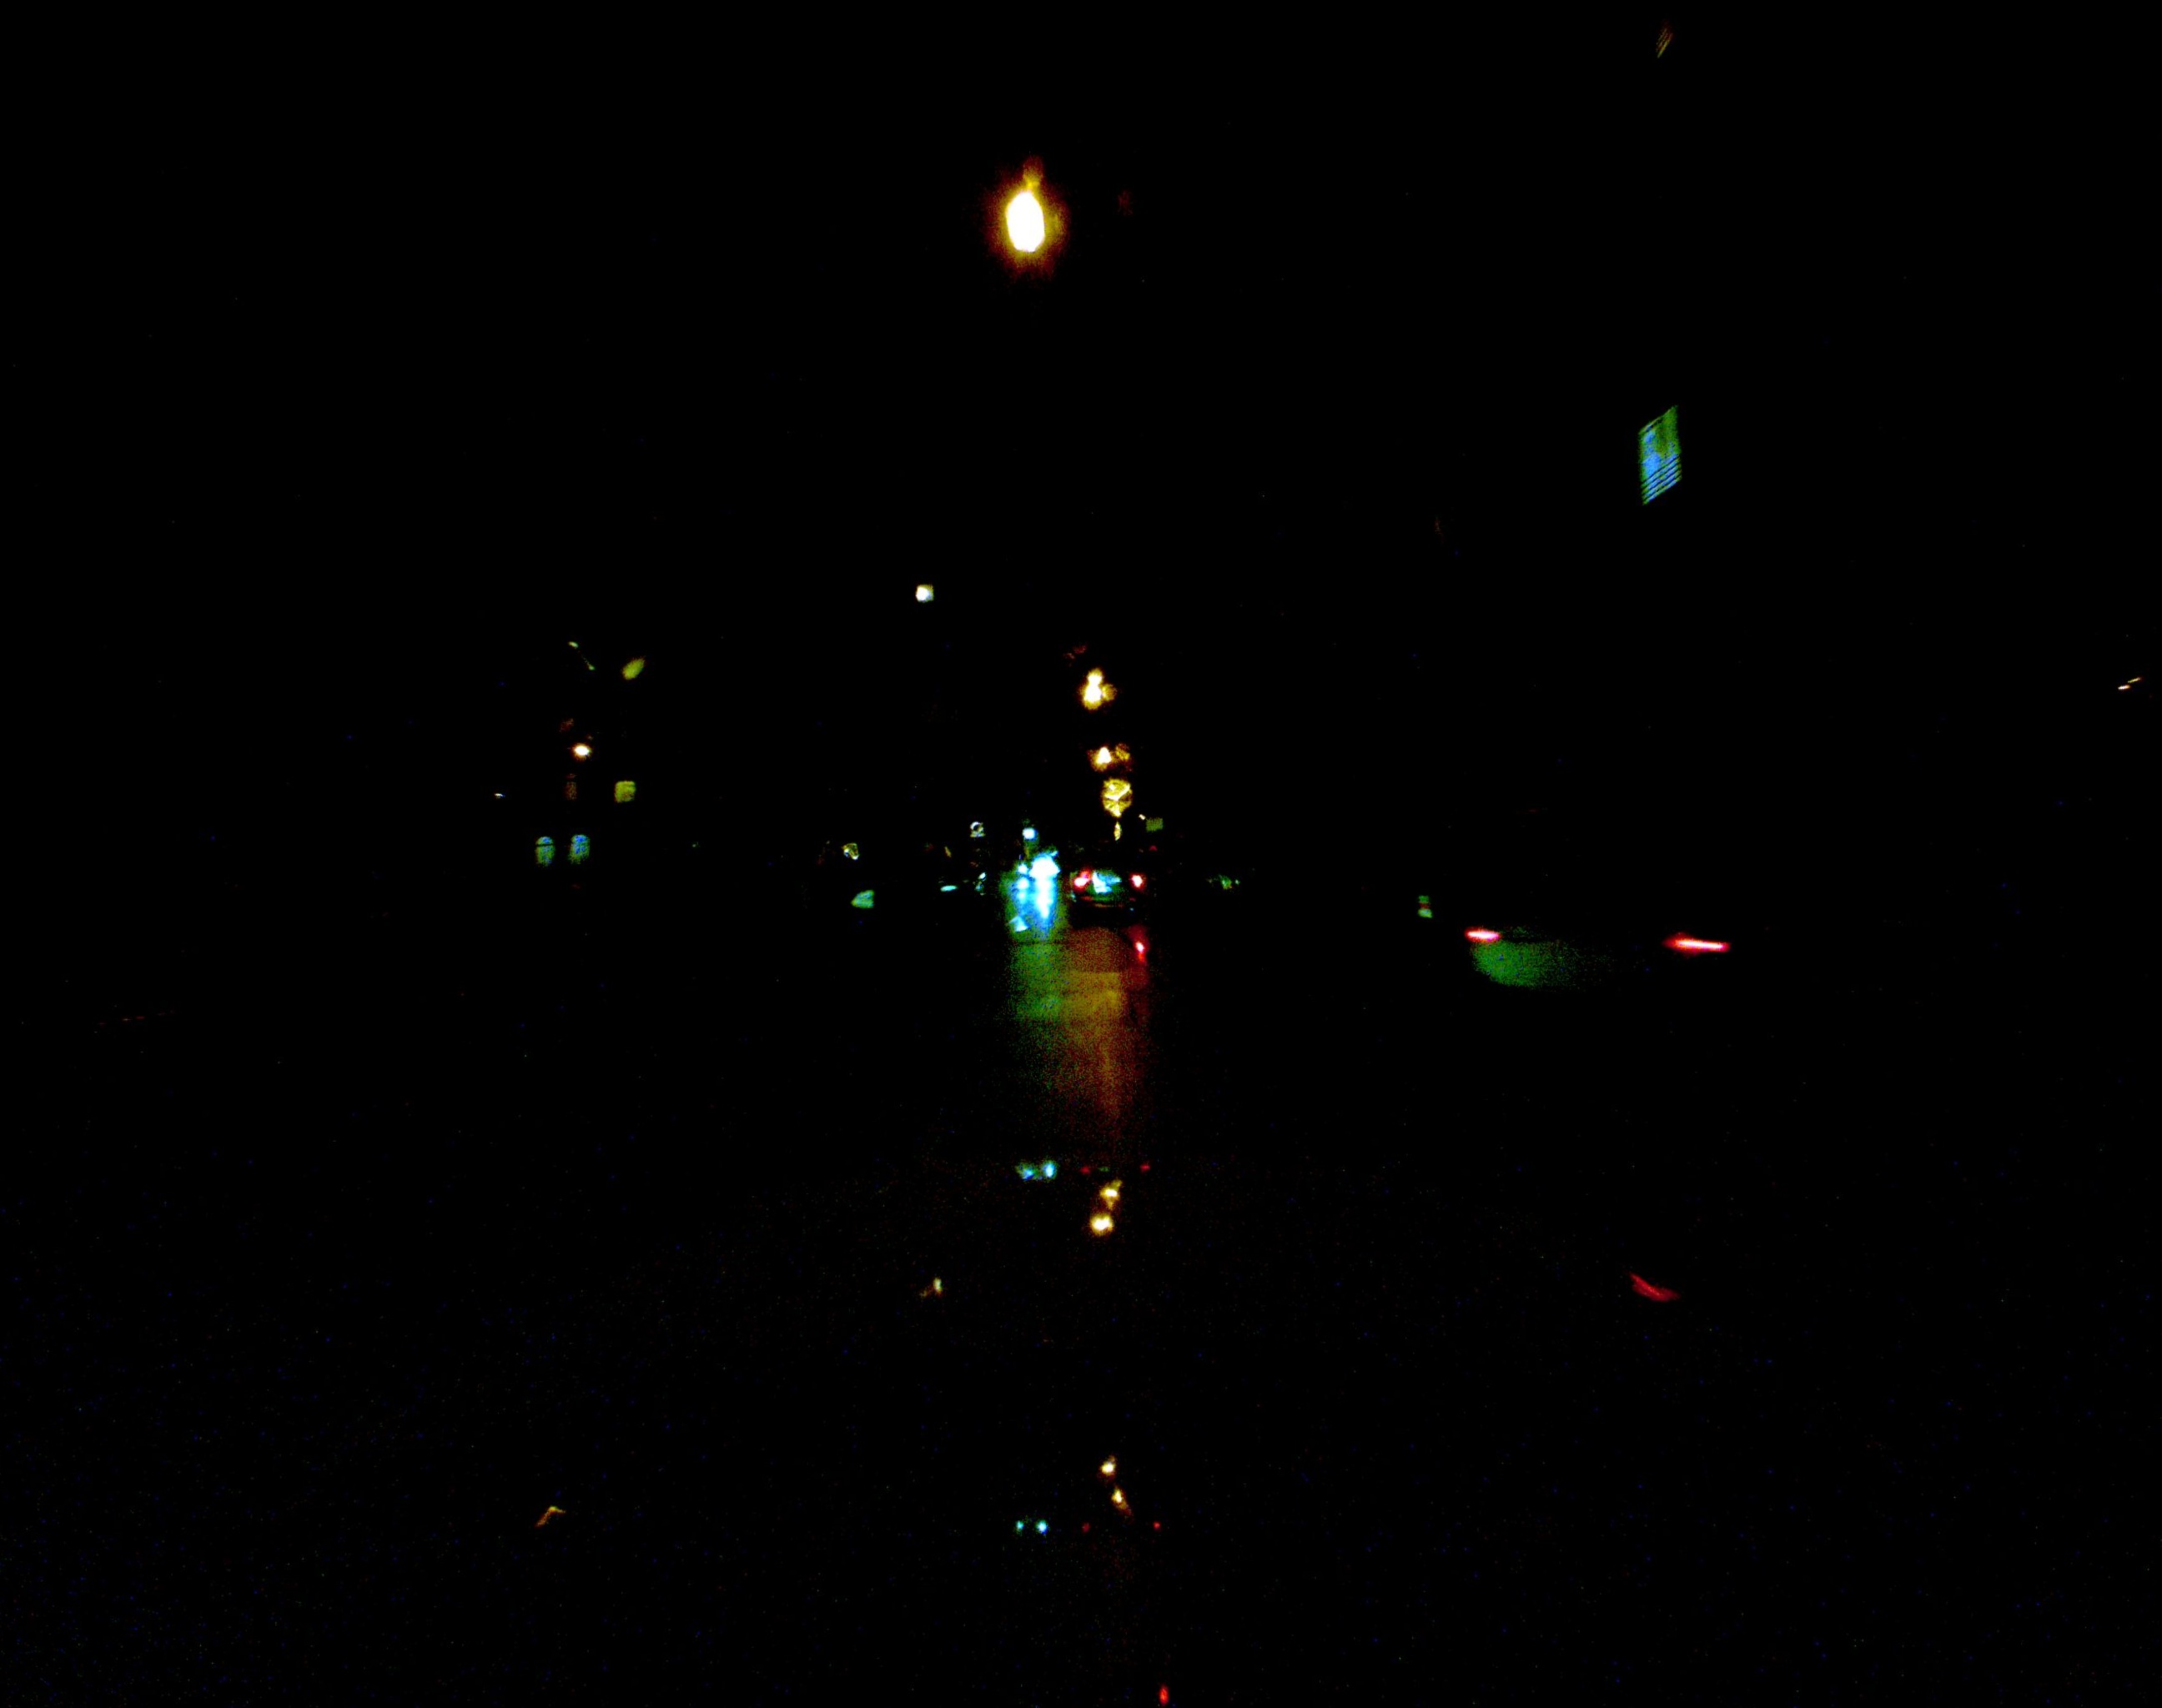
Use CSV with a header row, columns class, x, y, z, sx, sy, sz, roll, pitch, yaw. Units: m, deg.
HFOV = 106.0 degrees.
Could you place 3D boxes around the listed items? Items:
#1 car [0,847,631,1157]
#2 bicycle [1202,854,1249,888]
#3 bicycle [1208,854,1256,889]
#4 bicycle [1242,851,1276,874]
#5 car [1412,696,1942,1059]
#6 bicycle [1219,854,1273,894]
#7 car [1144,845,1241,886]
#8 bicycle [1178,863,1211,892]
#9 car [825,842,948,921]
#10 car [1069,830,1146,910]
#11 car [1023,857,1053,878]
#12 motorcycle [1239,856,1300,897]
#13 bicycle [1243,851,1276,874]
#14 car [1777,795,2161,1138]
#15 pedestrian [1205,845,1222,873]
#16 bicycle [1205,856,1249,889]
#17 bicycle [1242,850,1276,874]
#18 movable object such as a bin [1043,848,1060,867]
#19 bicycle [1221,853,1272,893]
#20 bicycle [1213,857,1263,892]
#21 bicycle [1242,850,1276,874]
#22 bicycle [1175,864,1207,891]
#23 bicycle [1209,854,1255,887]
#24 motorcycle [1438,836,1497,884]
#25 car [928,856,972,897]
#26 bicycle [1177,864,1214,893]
class,x,y,z,sx,sy,sz,roll,pitch,yaw
car,-5.860,0.809,6.634,1.805,1.670,4.412,-1,0,1
bicycle,5.245,0.622,29.629,1.591,1.158,0.417,-3,0,-1
bicycle,5.401,0.622,29.190,1.591,1.158,0.417,-3,0,-1
bicycle,9.903,0.455,45.314,1.683,1.146,0.485,-4,0,-6
car,5.618,0.105,7.515,4.959,2.341,2.209,-2,0,-32
bicycle,5.403,0.653,26.724,1.656,1.234,0.386,-3,0,4
car,4.723,0.485,34.466,3.716,1.522,1.644,-3,-1,-23
bicycle,4.207,0.868,30.239,1.128,0.974,0.249,-3,0,0
car,-5.084,0.670,22.056,1.858,1.846,4.831,-2,0,4
car,0.794,0.448,23.284,1.985,2.050,4.003,-1,-1,3
car,-2.981,0.936,57.287,1.647,1.359,4.225,-1,0,3
motorcycle,5.700,0.663,24.676,1.630,1.124,0.652,-4,0,-5
bicycle,9.821,0.452,44.781,1.683,1.146,0.428,-4,0,-6
car,6.267,0.457,5.044,3.461,1.468,1.616,-5,0,-25
pedestrian,9.222,0.333,56.666,0.836,1.835,0.947,-6,-2,-1
bicycle,5.519,0.707,30.828,1.585,1.158,0.541,-3,0,10
bicycle,9.685,0.426,44.210,1.683,1.146,0.428,-4,0,-6
movable object such as a bin,-2.343,0.299,65.503,1.202,1.459,1.108,1,-1,5
bicycle,5.529,0.637,27.238,1.572,1.234,0.418,-3,0,4
bicycle,5.461,0.703,28.352,1.591,1.112,0.417,-3,0,-1
bicycle,9.521,0.442,43.593,1.683,1.146,0.428,-4,0,-6
bicycle,4.132,0.894,30.550,1.128,0.948,0.267,-3,0,0
bicycle,5.587,0.608,30.205,1.591,1.158,0.417,-3,0,-1
motorcycle,11.002,0.165,23.263,0.522,1.318,2.122,-1,0,-4
car,-5.021,0.834,31.274,1.546,1.443,3.552,1,0,-9
bicycle,3.932,0.836,28.006,1.207,0.948,0.302,-1,0,-1
